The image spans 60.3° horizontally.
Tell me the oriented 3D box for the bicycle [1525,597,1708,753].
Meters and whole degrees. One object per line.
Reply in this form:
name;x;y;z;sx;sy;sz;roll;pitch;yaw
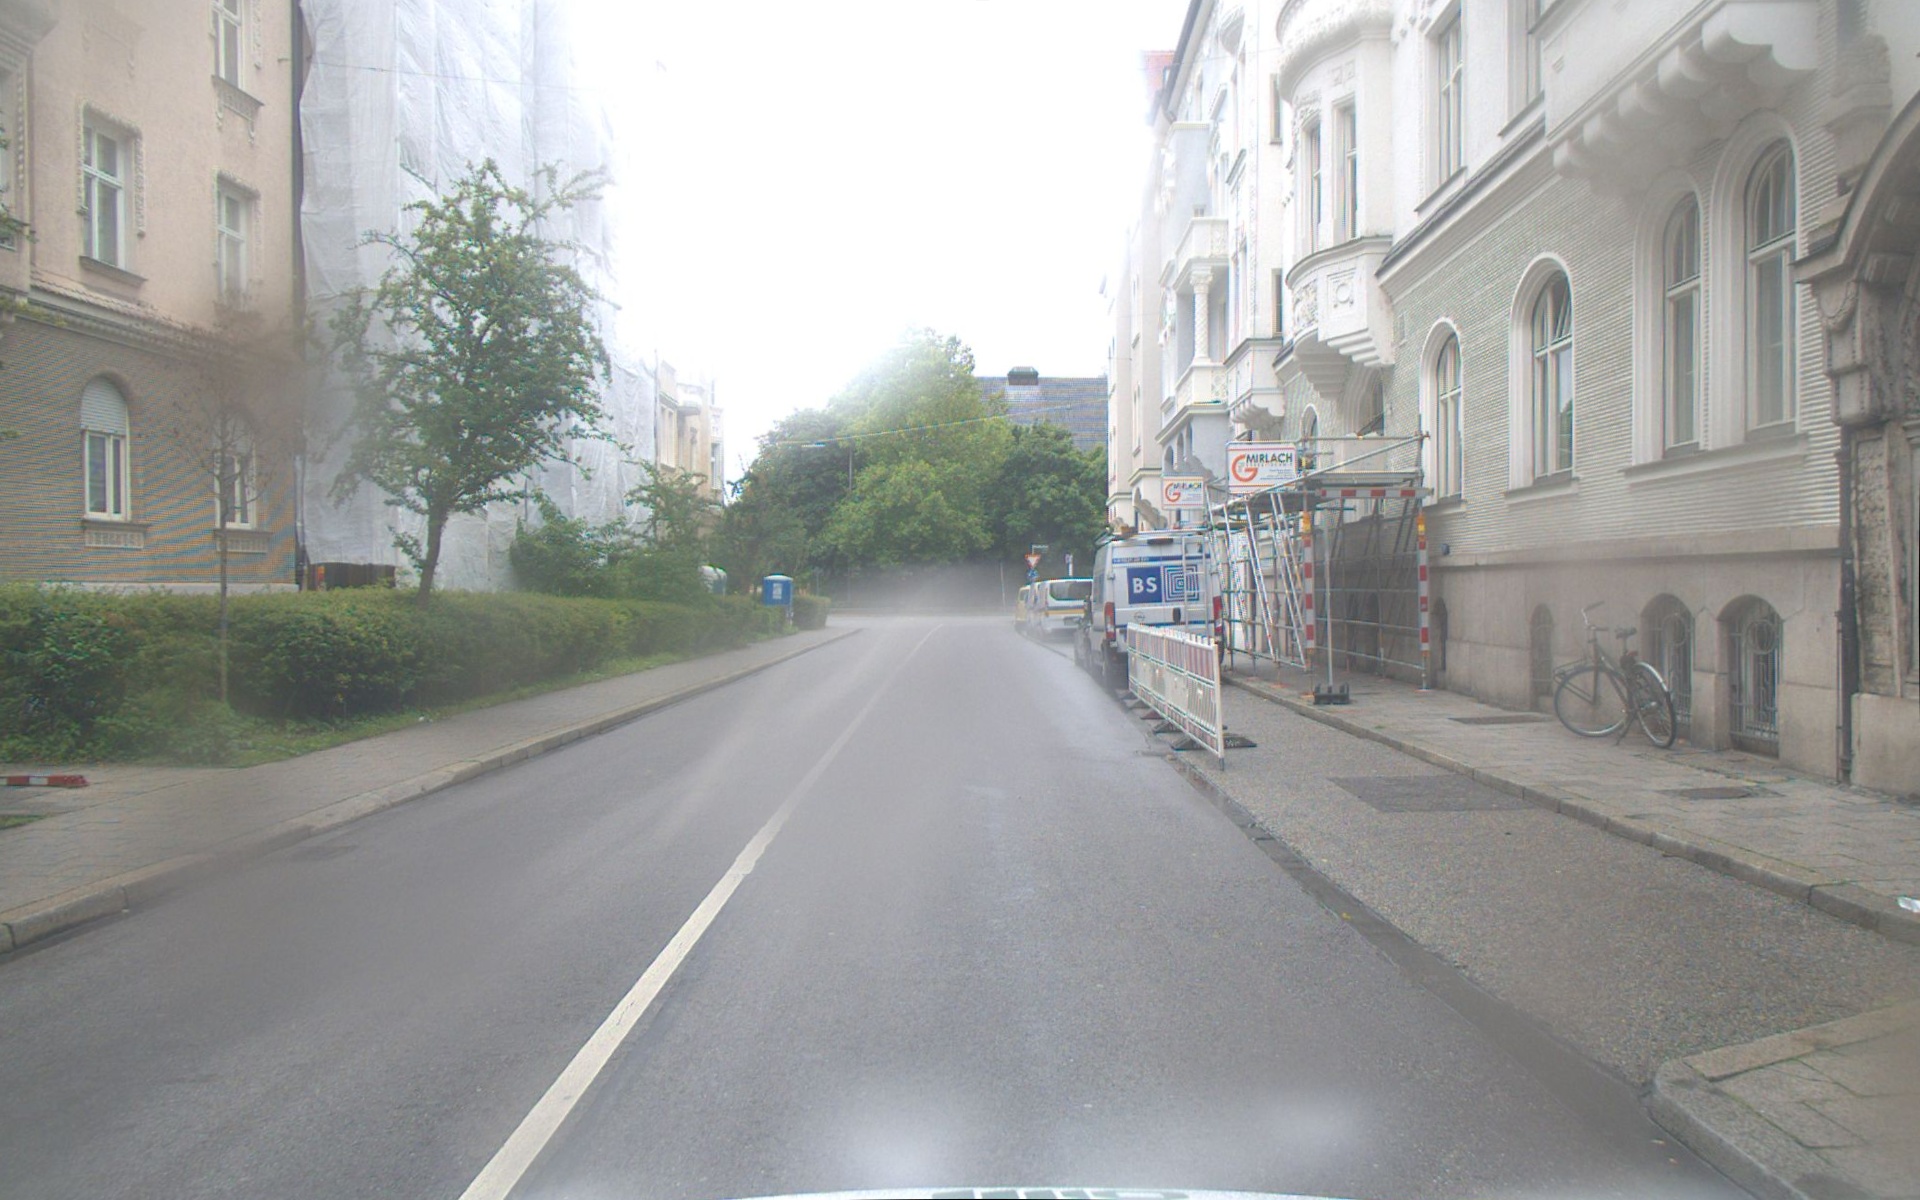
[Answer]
bicycle;5.703;0.614;14.497;0.647;1.227;1.920;-5;0;-4

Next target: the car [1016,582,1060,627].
car;3.408;0.180;72.094;1.811;1.885;4.823;-1;0;3

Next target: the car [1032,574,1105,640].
car;3.526;0.200;54.657;1.920;2.049;4.992;-1;0;-1

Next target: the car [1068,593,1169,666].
car;3.394;0.601;36.003;1.718;1.459;4.086;-1;0;-1

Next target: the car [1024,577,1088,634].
car;3.469;0.184;60.827;1.920;1.971;4.992;-1;0;-1

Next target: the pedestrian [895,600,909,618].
pedestrian;-3.976;0.630;113.178;0.794;1.209;0.920;-1;0;6

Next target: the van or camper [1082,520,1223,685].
van or camper;3.385;0.037;30.045;1.913;2.683;5.459;-1;0;0
